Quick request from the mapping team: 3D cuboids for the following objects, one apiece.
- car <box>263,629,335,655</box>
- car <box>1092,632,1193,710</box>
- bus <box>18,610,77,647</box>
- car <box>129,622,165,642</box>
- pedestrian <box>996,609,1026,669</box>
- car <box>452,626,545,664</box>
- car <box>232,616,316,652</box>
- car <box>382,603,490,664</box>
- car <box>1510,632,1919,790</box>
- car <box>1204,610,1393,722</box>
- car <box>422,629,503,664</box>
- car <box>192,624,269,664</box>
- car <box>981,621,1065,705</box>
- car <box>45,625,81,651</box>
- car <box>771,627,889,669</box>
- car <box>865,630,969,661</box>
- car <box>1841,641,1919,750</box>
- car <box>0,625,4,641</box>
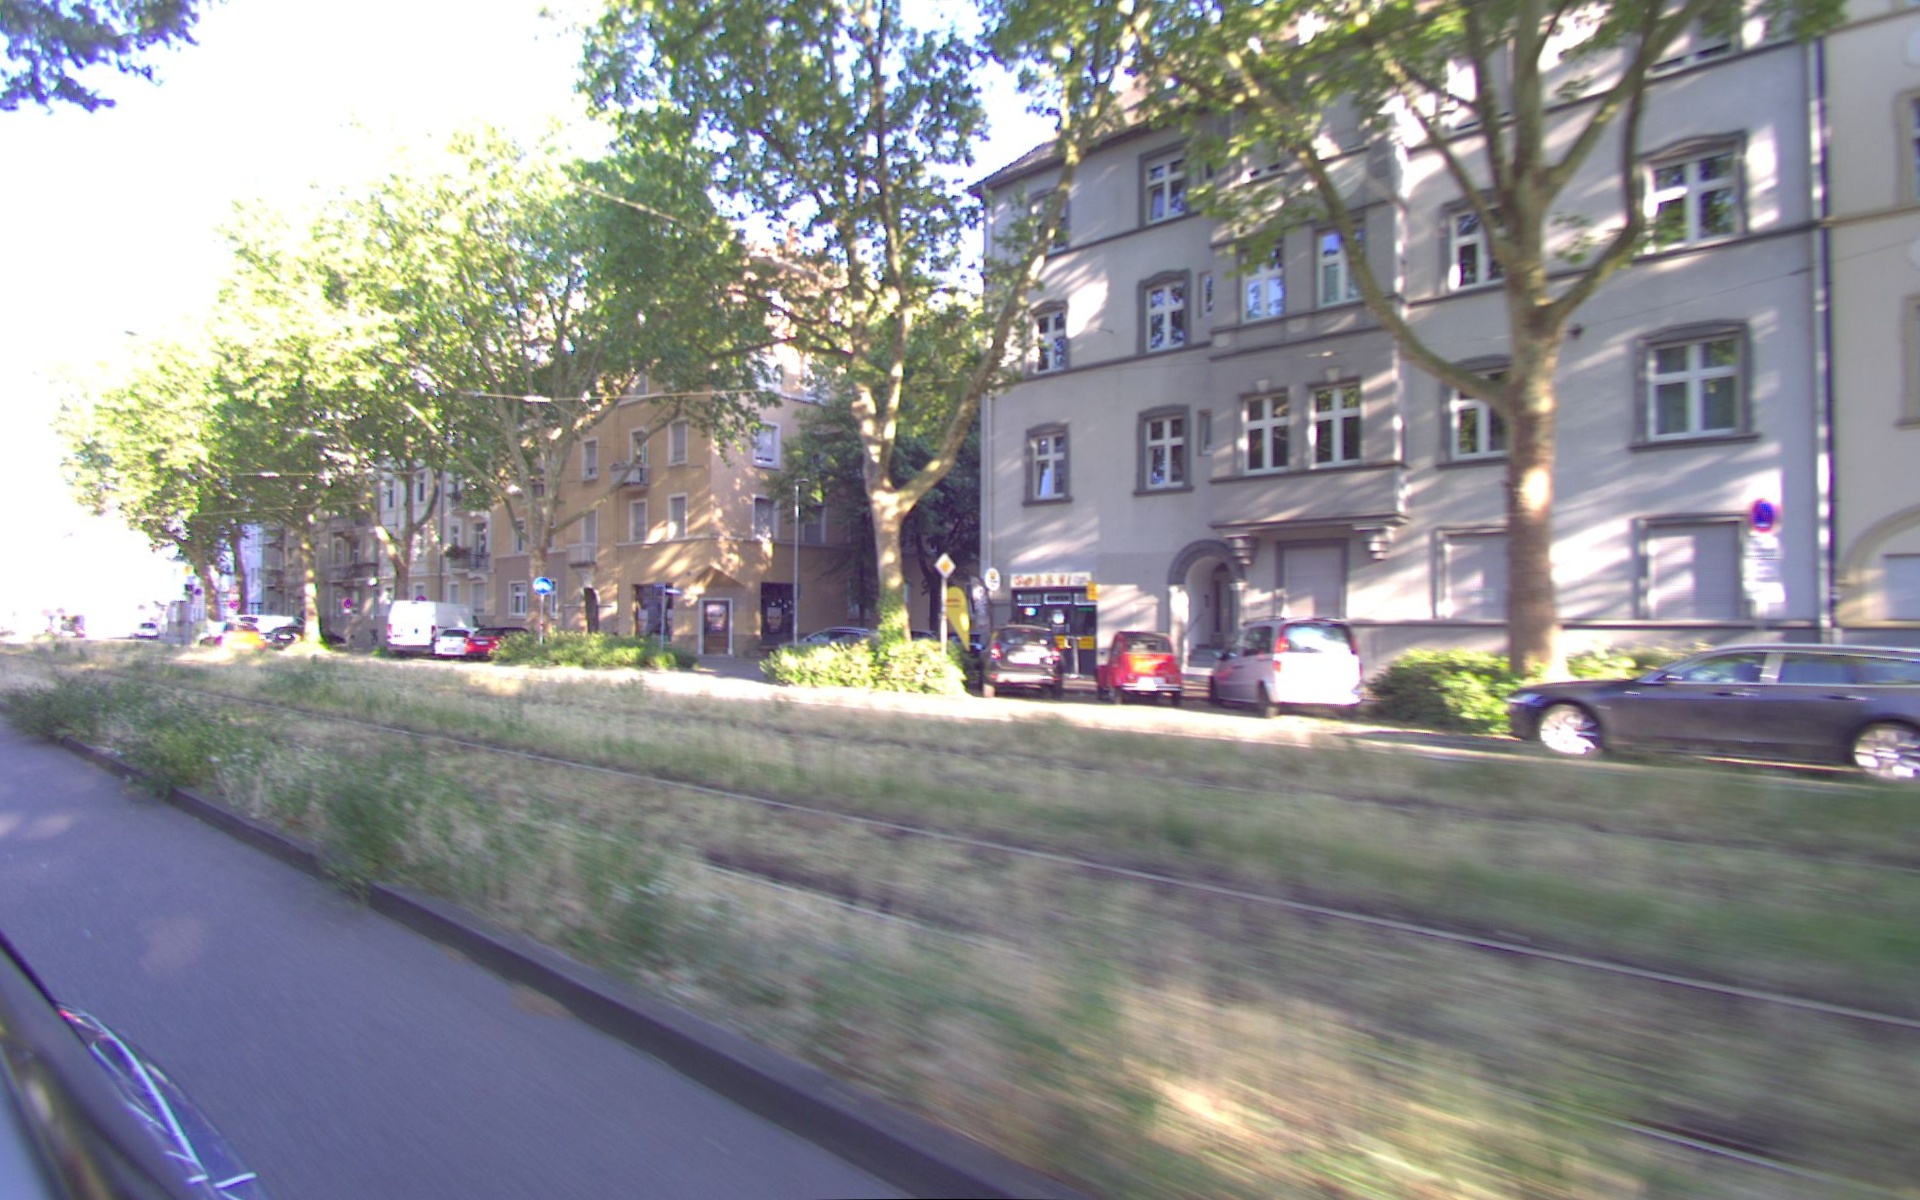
[{"bbox_3d":[-37.302,2.350,57.194,1.697,1.433,3.729,0,-1,-2],"label":"car"},{"bbox_3d":[3.845,1.452,21.861,1.564,1.459,3.997,1,-1,2],"label":"car"},{"bbox_3d":[-90.881,2.774,100.720,11.976,3.399,3.219,0,-1,43],"label":"bus"},{"bbox_3d":[-76.391,2.986,95.076,4.653,1.800,1.883,0,-1,43],"label":"car"},{"bbox_3d":[1.553,1.177,30.601,0.620,1.773,0.673,2,-3,-44],"label":"pedestrian"},{"bbox_3d":[-18.831,1.853,41.460,1.717,1.477,3.699,0,-3,9],"label":"car"},{"bbox_3d":[-41.755,2.038,61.778,1.697,2.082,5.248,0,-1,-2],"label":"car"},{"bbox_3d":[-23.183,1.454,45.080,2.095,2.548,5.510,0,-1,-2],"label":"car"},{"bbox_3d":[9.125,1.140,11.362,1.726,1.471,4.928,2,-1,-45],"label":"car"},{"bbox_3d":[6.273,1.165,19.285,1.970,1.896,4.004,1,-1,-4],"label":"car"},{"bbox_3d":[-21.132,1.945,43.118,1.711,1.410,3.711,0,-1,-1],"label":"car"},{"bbox_3d":[-30.594,1.820,42.436,3.998,1.586,1.771,-1,-2,41],"label":"car"},{"bbox_3d":[1.407,1.370,23.479,1.760,1.736,3.997,1,-1,2],"label":"car"},{"bbox_3d":[-63.551,2.667,71.726,1.846,1.706,4.783,1,-1,-41],"label":"car"},{"bbox_3d":[-5.326,1.955,41.603,4.482,1.514,1.790,2,-1,11],"label":"car"},{"bbox_3d":[-1.915,2.020,45.495,4.370,1.346,1.790,0,-2,11],"label":"car"},{"bbox_3d":[13.002,1.244,12.287,1.568,1.366,3.988,0,-1,9],"label":"car"},{"bbox_3d":[-92.060,3.107,95.800,4.696,1.497,1.698,-1,-4,41],"label":"car"}]
